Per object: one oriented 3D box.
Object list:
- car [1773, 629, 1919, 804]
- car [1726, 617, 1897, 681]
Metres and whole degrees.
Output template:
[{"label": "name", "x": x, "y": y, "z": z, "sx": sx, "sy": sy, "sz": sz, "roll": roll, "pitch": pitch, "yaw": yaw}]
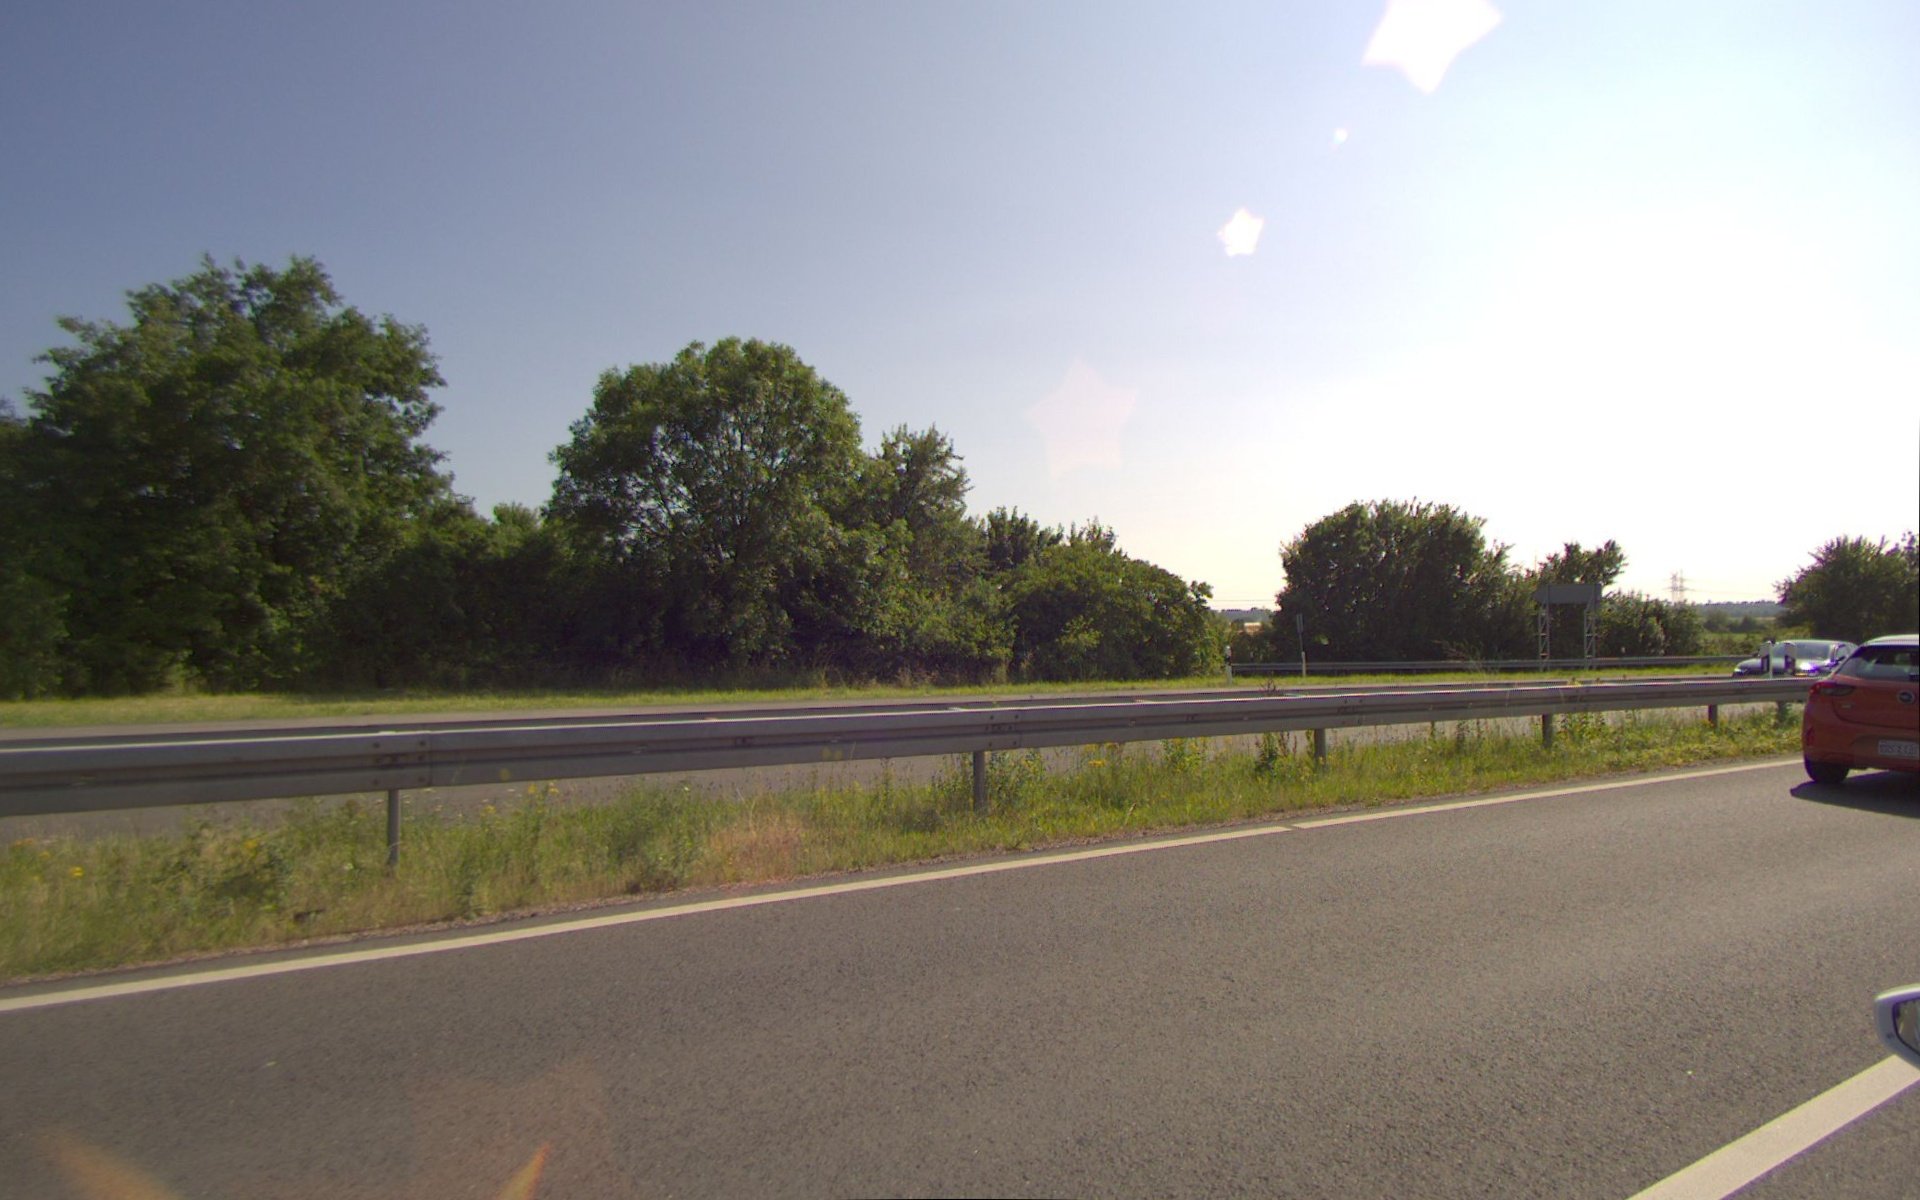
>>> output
[{"label": "car", "x": 9.811, "y": 1.044, "z": 9.655, "sx": 4.361, "sy": 1.456, "sz": 1.701, "roll": 2, "pitch": -2, "yaw": -31}, {"label": "car", "x": 21.239, "y": 1.201, "z": 25.016, "sx": 4.621, "sy": 1.439, "sz": 1.792, "roll": 2, "pitch": 0, "yaw": -30}]
